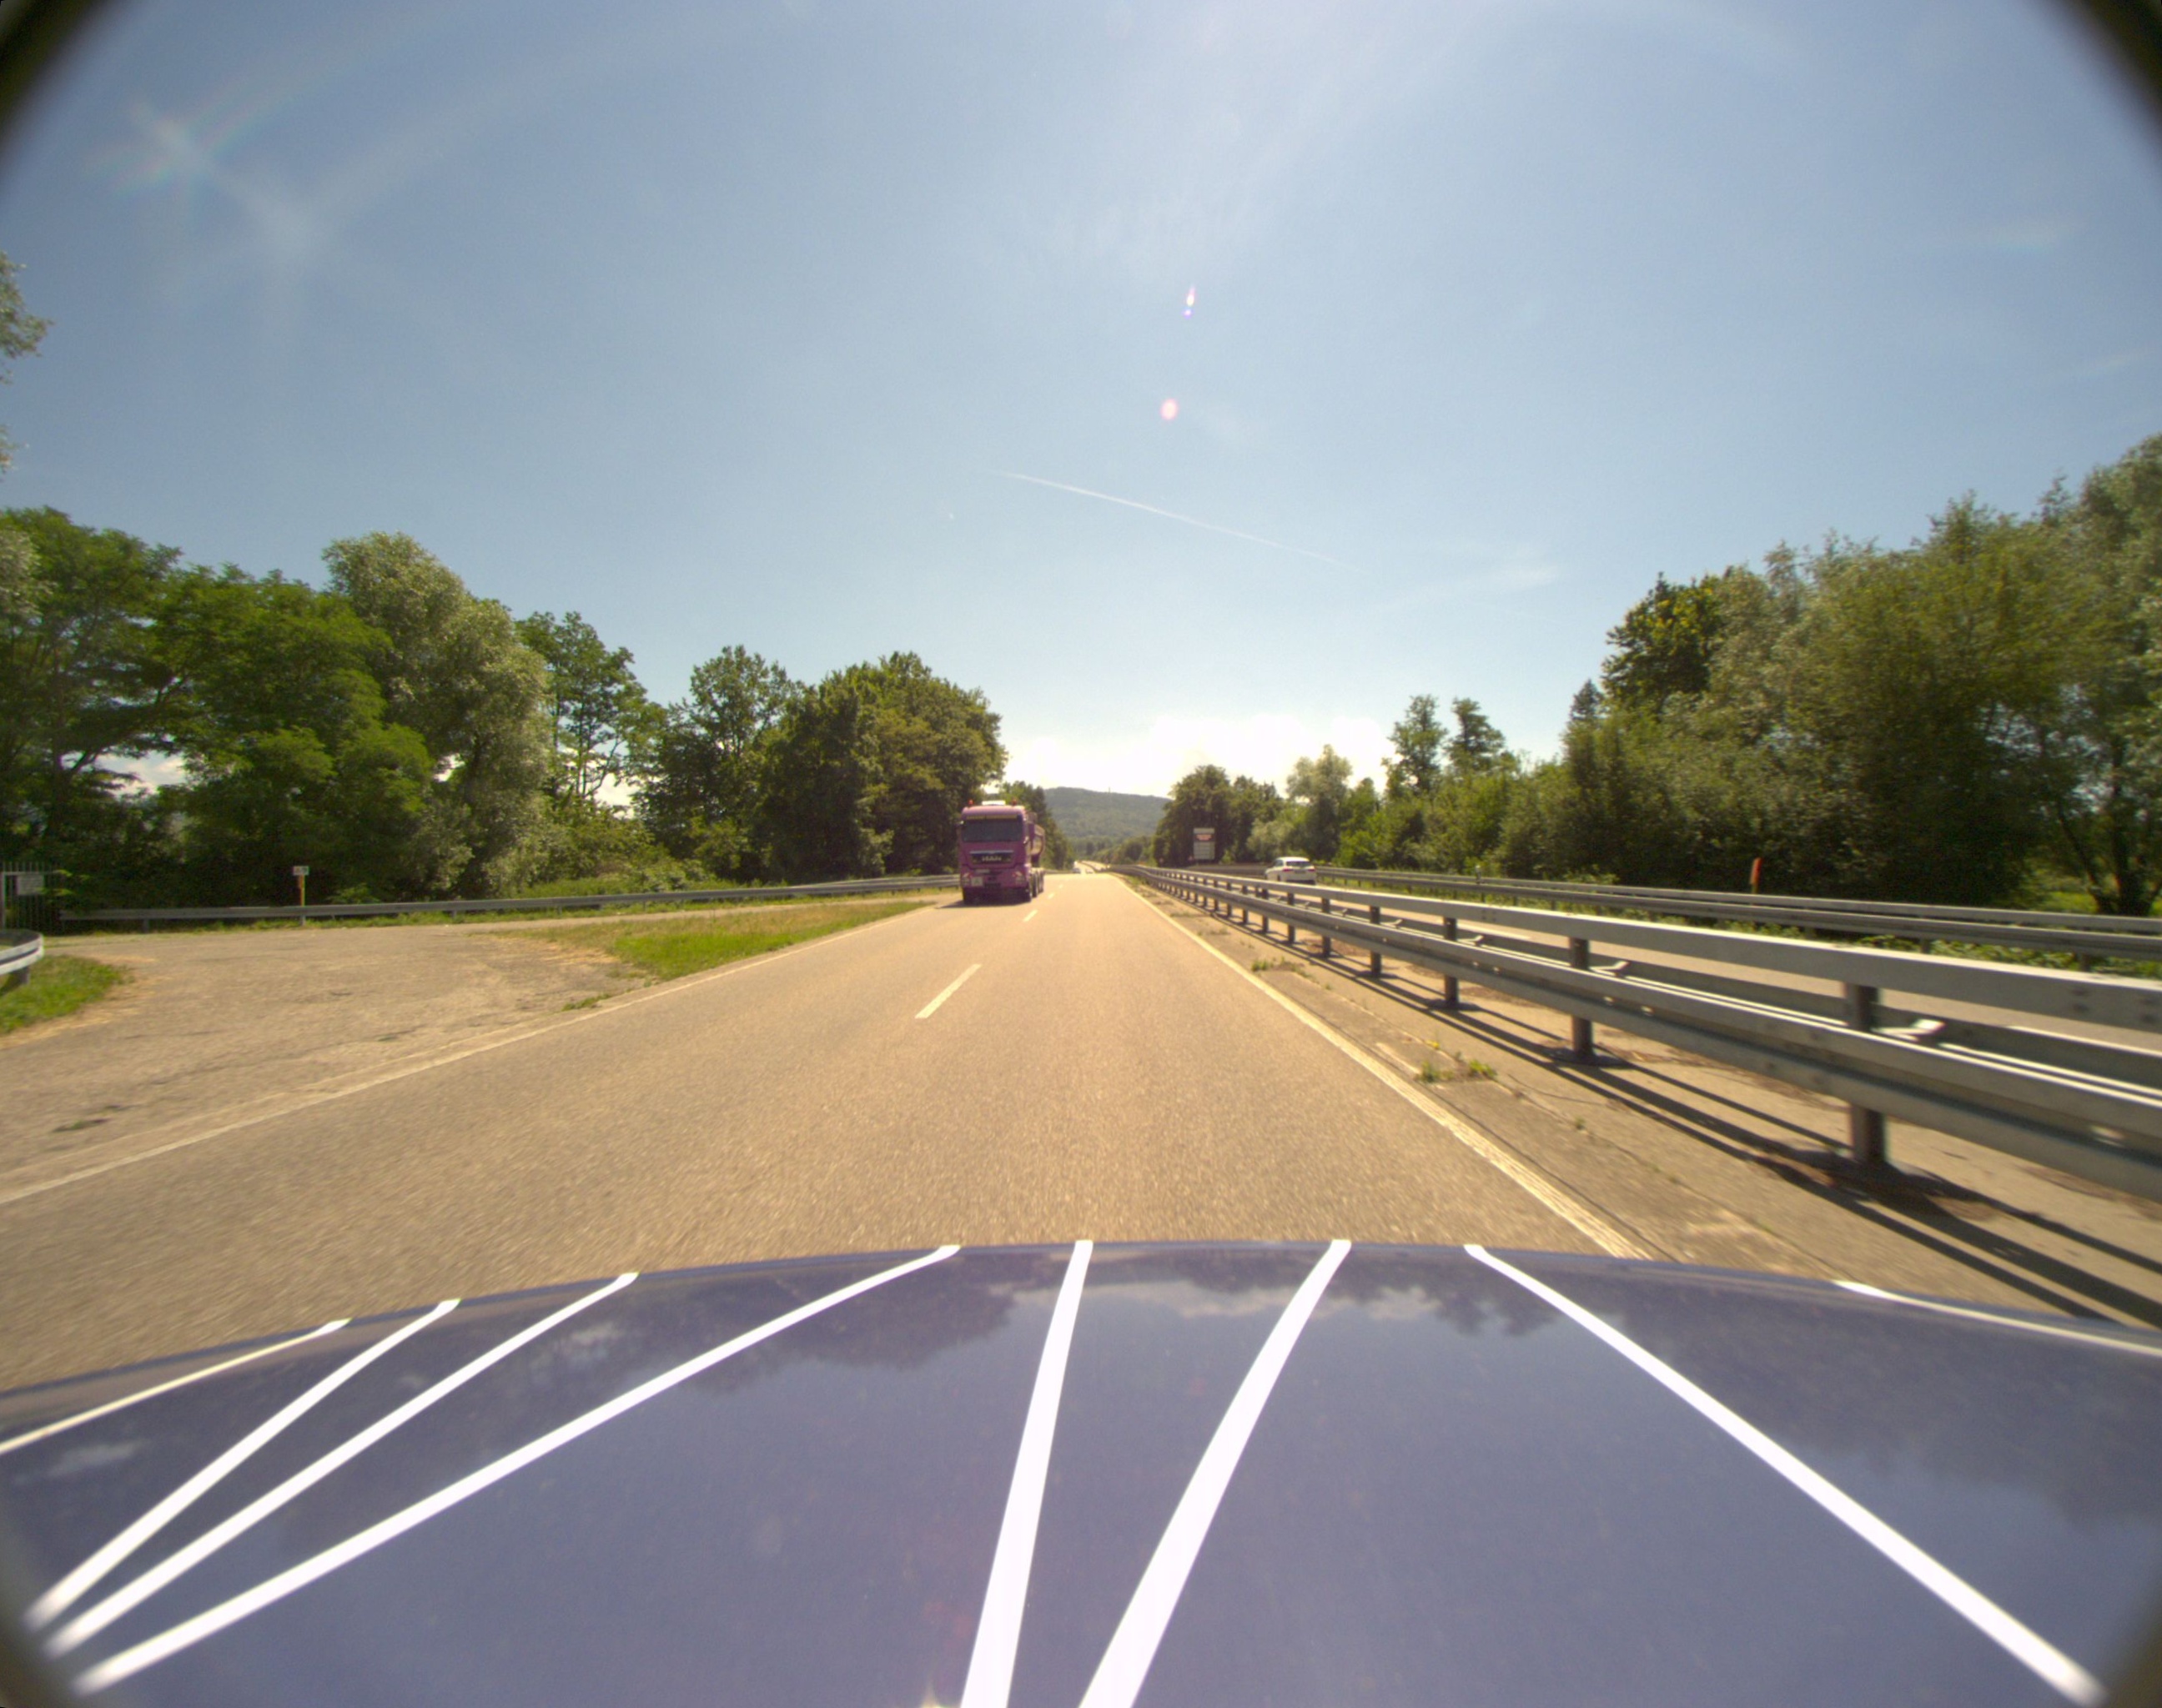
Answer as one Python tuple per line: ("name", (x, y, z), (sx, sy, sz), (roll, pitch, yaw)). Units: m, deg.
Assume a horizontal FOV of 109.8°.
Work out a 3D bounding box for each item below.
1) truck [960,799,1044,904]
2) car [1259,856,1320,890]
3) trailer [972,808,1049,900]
("truck", (-2.950, -0.042, 29.960), (2.605, 3.669, 5.939), (-1, -1, 0))
("car", (10.735, 0.916, 39.476), (1.823, 1.589, 4.840), (1, 0, 0))
("trailer", (-2.976, 0.059, 34.578), (2.605, 3.607, 8.615), (-1, -1, 0))
